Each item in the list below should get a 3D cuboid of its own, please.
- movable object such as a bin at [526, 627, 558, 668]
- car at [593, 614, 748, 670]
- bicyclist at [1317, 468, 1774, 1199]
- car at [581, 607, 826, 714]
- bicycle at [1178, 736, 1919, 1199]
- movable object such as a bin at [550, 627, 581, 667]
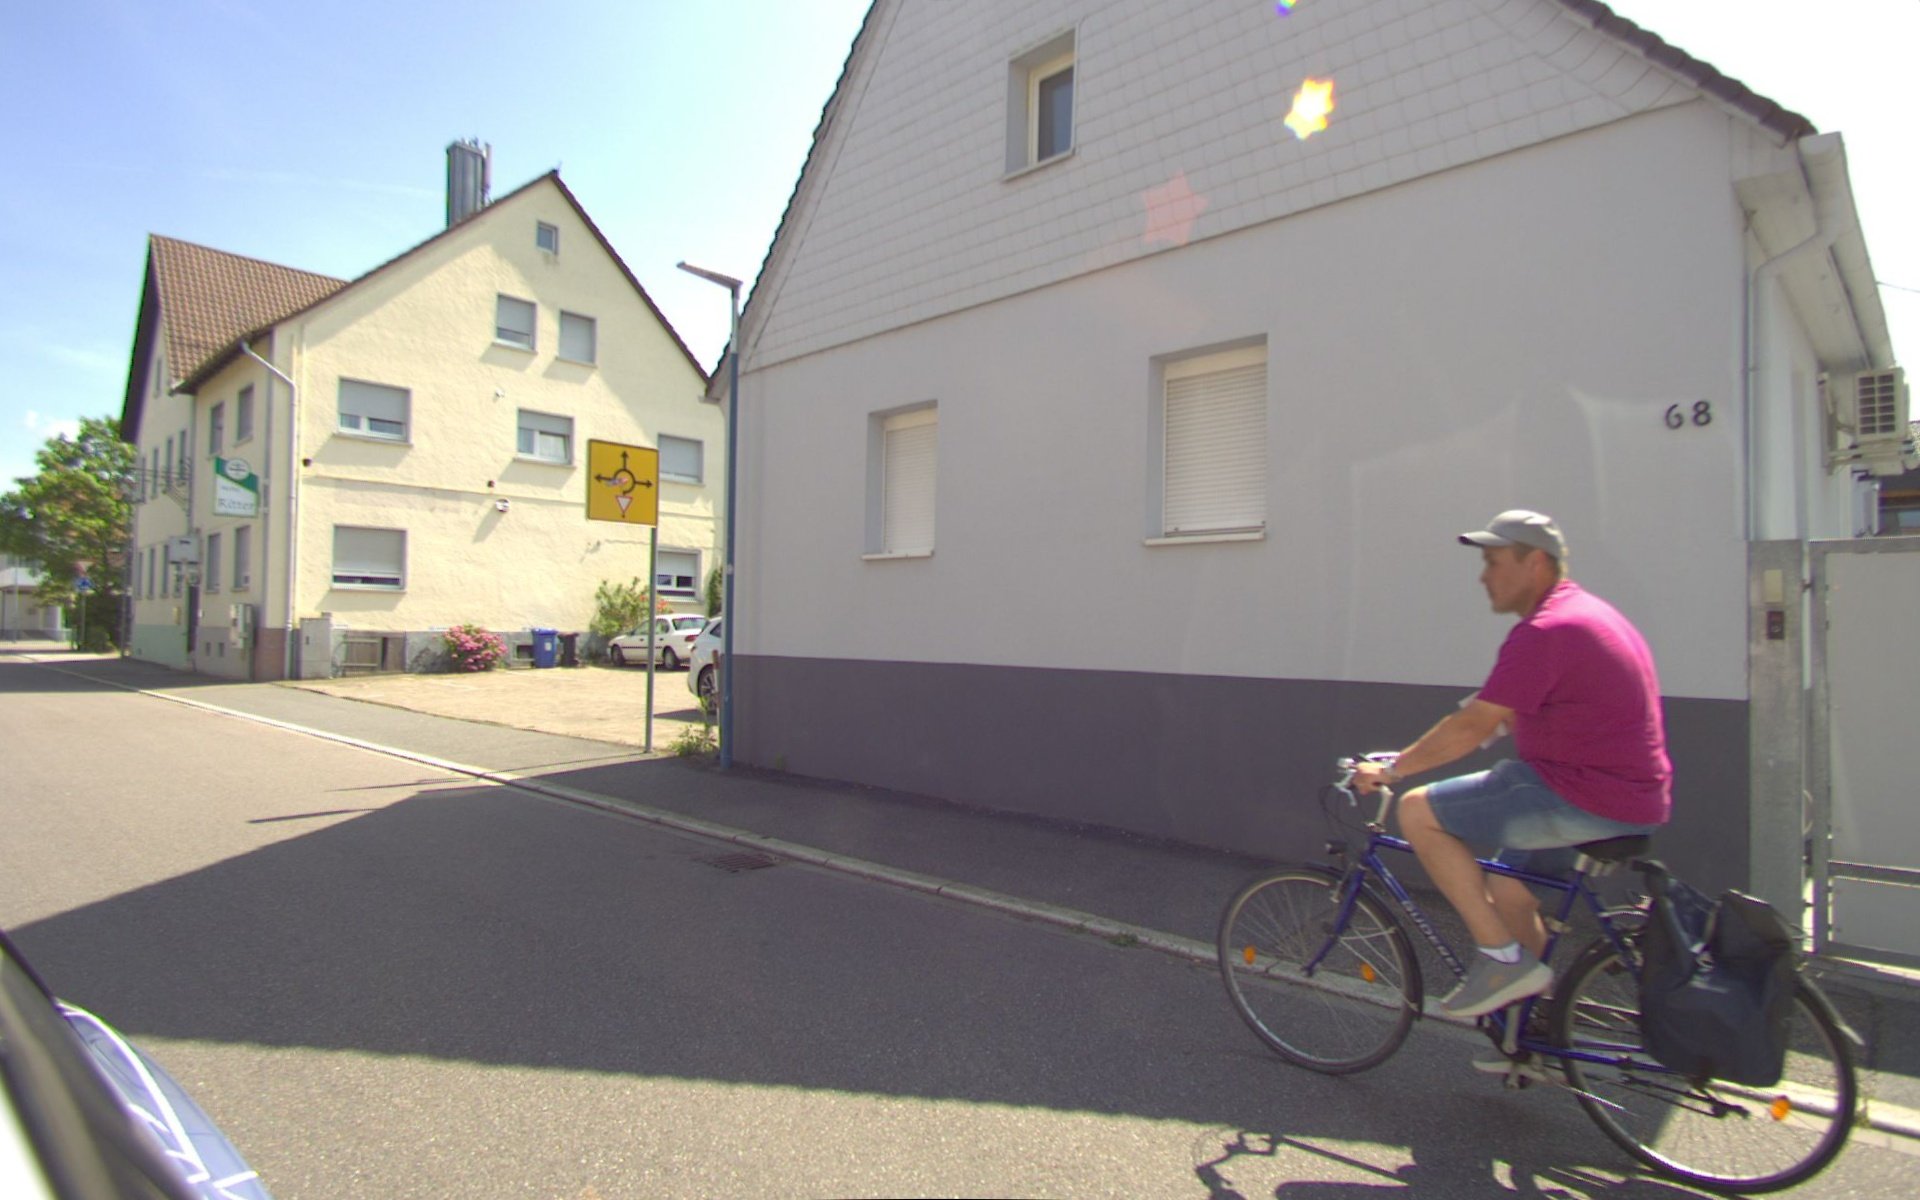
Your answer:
[{"bbox_3d":[-11.283,1.282,27.325,0.680,1.080,0.571,-1,-2,43],"label":"movable object such as a bin"},{"bbox_3d":[-7.913,1.099,27.393,4.829,1.390,1.804,-1,-2,43],"label":"car"},{"bbox_3d":[1.647,0.541,2.886,0.738,1.649,0.957,2,-3,-45],"label":"bicyclist"},{"bbox_3d":[-4.436,0.950,17.127,4.476,1.582,1.756,-1,-2,40],"label":"car"},{"bbox_3d":[1.651,1.016,2.863,0.734,1.055,1.941,2,-2,-45],"label":"bicycle"},{"bbox_3d":[-10.872,1.298,27.887,0.680,1.080,0.571,-1,-2,43],"label":"movable object such as a bin"}]
